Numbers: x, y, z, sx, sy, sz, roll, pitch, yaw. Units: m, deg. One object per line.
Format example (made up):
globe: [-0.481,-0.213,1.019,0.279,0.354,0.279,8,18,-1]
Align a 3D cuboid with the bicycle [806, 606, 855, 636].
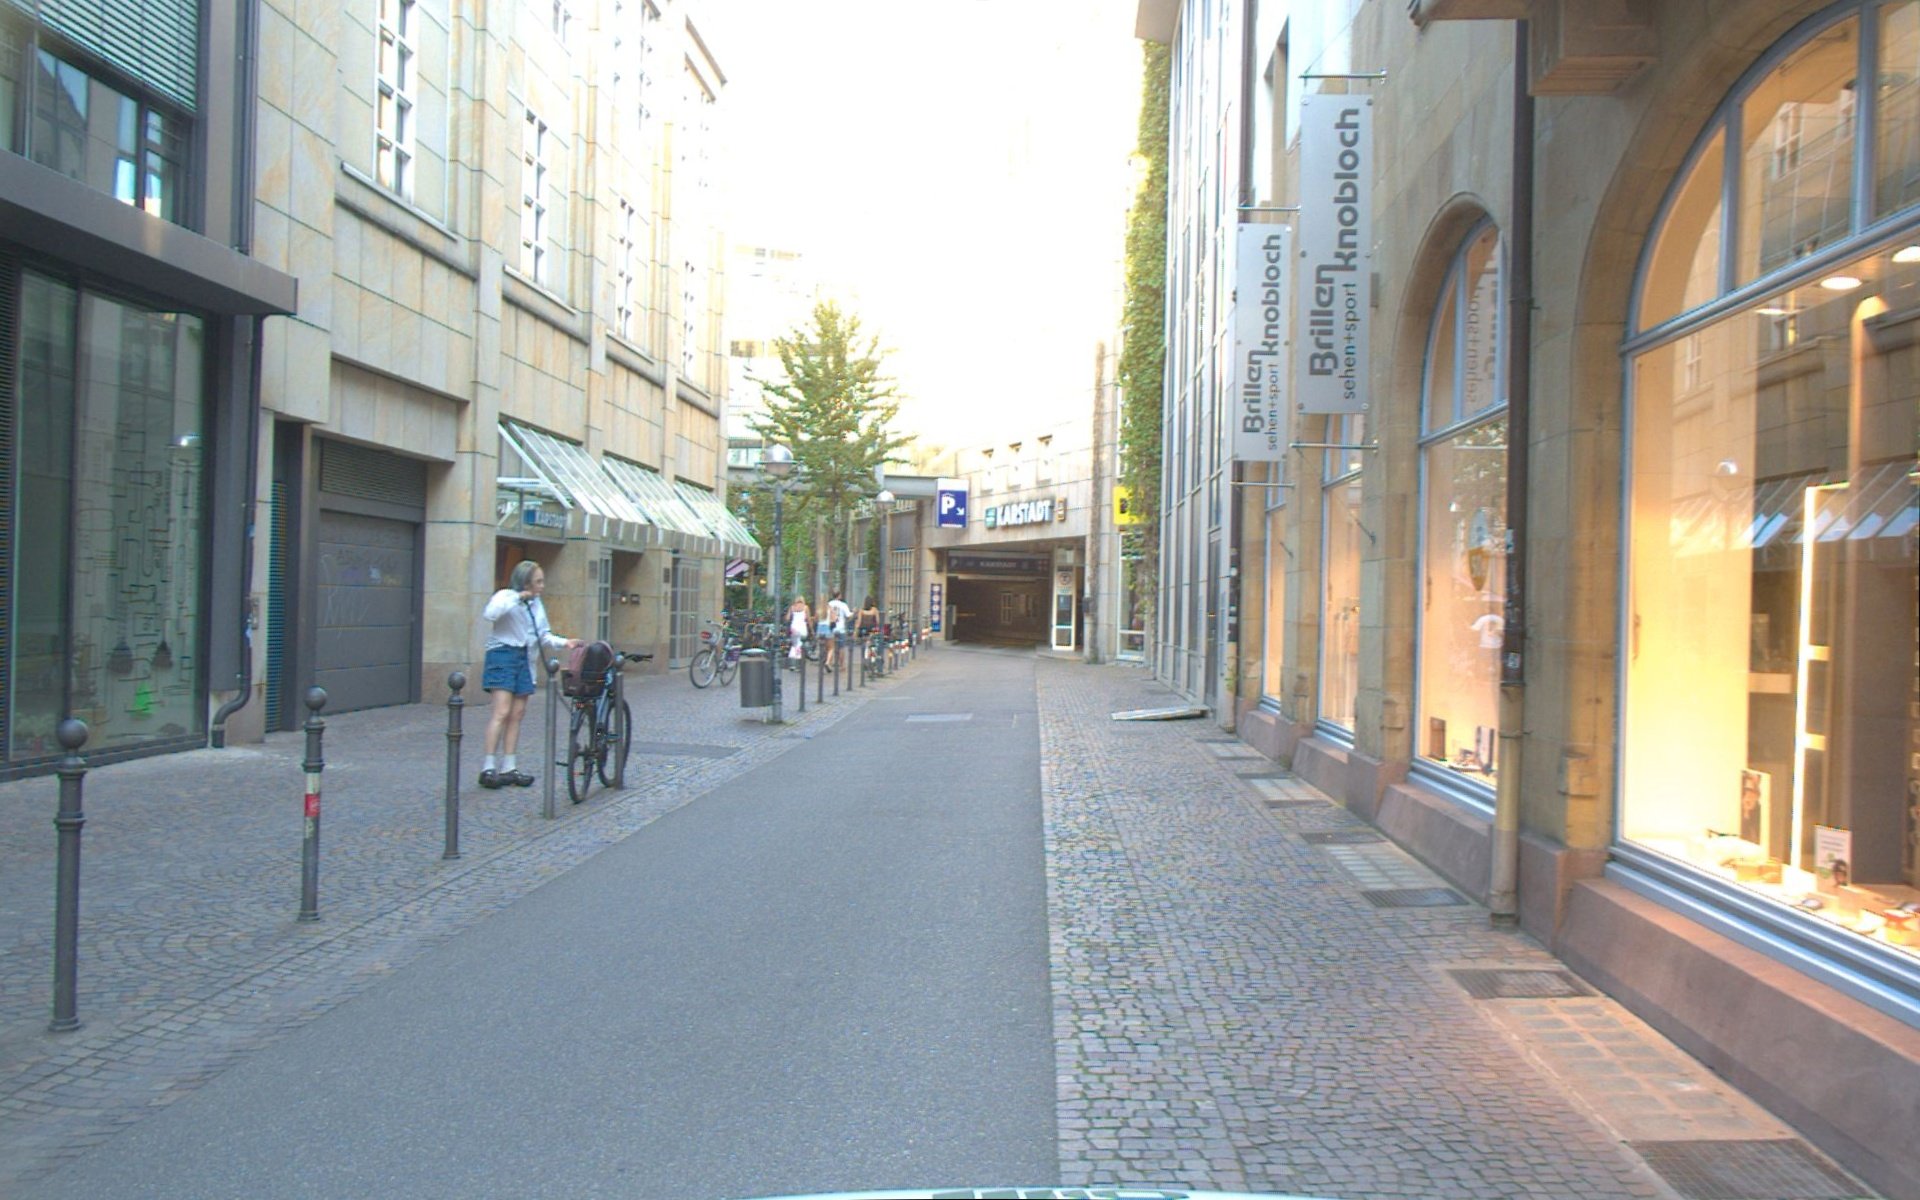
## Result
bicycle: [-4.827,0.781,61.631,1.746,1.134,0.540,0,0,-19]

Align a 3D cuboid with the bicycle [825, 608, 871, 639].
bicycle: [-3.927,0.823,58.053,1.516,1.067,0.572,0,0,-19]

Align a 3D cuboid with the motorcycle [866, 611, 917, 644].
motorcycle: [-2.263,0.903,54.572,1.637,1.069,0.461,0,0,-19]

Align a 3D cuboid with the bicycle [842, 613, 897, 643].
bicycle: [-3.063,0.955,56.223,1.819,0.999,0.461,0,0,-19]

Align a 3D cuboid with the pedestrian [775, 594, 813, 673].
pedestrian: [-3.609,0.719,36.080,0.660,1.693,0.861,1,0,4]

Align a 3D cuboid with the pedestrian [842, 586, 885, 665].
pedestrian: [-2.283,0.591,39.039,0.768,1.826,0.973,1,0,12]

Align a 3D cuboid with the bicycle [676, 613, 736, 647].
bicycle: [-8.053,0.946,52.459,1.798,1.061,0.531,0,0,-21]

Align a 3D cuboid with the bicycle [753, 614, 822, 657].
bicycle: [-4.656,0.945,44.649,1.810,1.142,0.531,0,0,-21]

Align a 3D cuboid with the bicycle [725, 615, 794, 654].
bicycle: [-5.595,0.954,46.163,1.866,1.070,0.531,0,0,-21]

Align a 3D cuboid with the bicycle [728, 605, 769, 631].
bicycle: [-9.335,0.813,73.116,1.744,1.134,0.540,0,0,-16]

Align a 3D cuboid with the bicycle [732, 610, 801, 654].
bicycle: [-5.339,0.885,45.625,1.845,1.198,0.531,0,0,-21]

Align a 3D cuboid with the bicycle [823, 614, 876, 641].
bicycle: [-3.816,0.952,57.098,1.746,0.920,0.461,0,0,-19]

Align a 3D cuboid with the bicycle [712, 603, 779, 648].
bicycle: [-6.080,0.716,46.853,1.806,1.246,0.531,0,0,-21]

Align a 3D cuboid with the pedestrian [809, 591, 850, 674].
pedestrian: [-2.831,0.692,35.986,0.790,1.760,0.949,1,0,1]

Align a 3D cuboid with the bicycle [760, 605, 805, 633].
bicycle: [-7.206,0.766,67.271,1.746,1.134,0.540,0,0,-19]

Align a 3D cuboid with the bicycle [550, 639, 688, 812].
bicycle: [-2.605,0.922,12.836,0.521,1.174,1.915,3,0,3]

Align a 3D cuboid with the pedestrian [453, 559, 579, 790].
pedestrian: [-3.504,0.576,13.097,0.752,1.748,0.592,3,0,1]

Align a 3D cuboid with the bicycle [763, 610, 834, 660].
bicycle: [-4.139,0.885,42.461,1.741,1.252,0.531,0,0,-21]

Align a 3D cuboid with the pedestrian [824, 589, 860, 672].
pedestrian: [-2.663,0.673,37.440,0.727,1.854,0.878,0,0,1]

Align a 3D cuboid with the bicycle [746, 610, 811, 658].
bicycle: [-4.798,0.888,43.761,1.630,1.252,0.531,0,0,-21]

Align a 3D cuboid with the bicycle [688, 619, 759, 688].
bicycle: [-4.161,0.931,29.193,0.510,1.158,1.765,0,0,18]

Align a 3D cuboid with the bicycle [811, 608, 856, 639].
bicycle: [-4.514,0.841,59.049,1.516,1.067,0.572,0,0,-19]

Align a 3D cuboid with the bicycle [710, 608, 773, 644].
bicycle: [-6.696,0.790,50.659,1.849,1.061,0.531,0,0,-21]

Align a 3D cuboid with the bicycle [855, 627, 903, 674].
bicycle: [-1.758,1.084,35.937,0.482,0.955,1.660,2,0,17]
